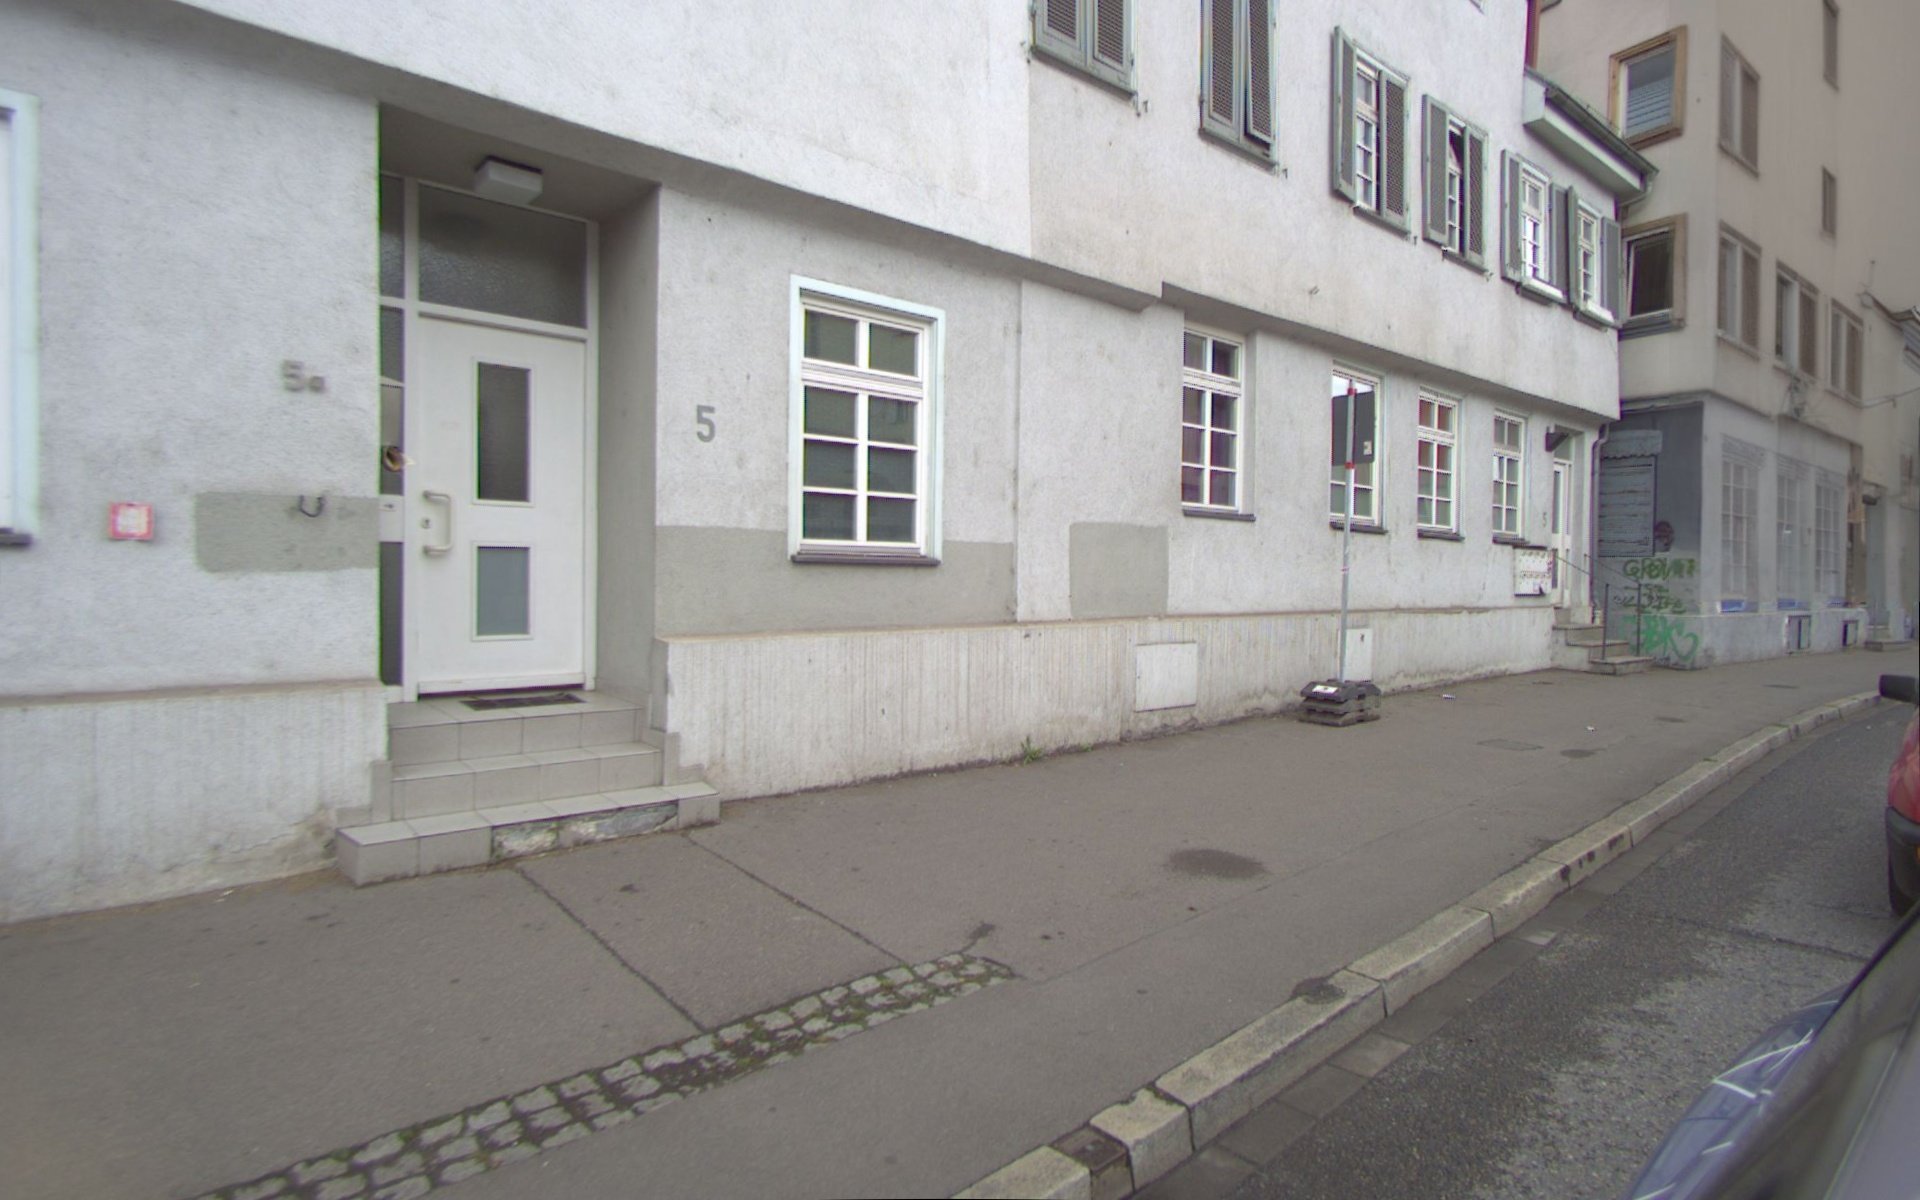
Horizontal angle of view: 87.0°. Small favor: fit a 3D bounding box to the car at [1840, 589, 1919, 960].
[{"bbox_3d":[5.761,0.675,4.830,3.930,1.485,1.802,0,-1,-41],"label":"car"}]
